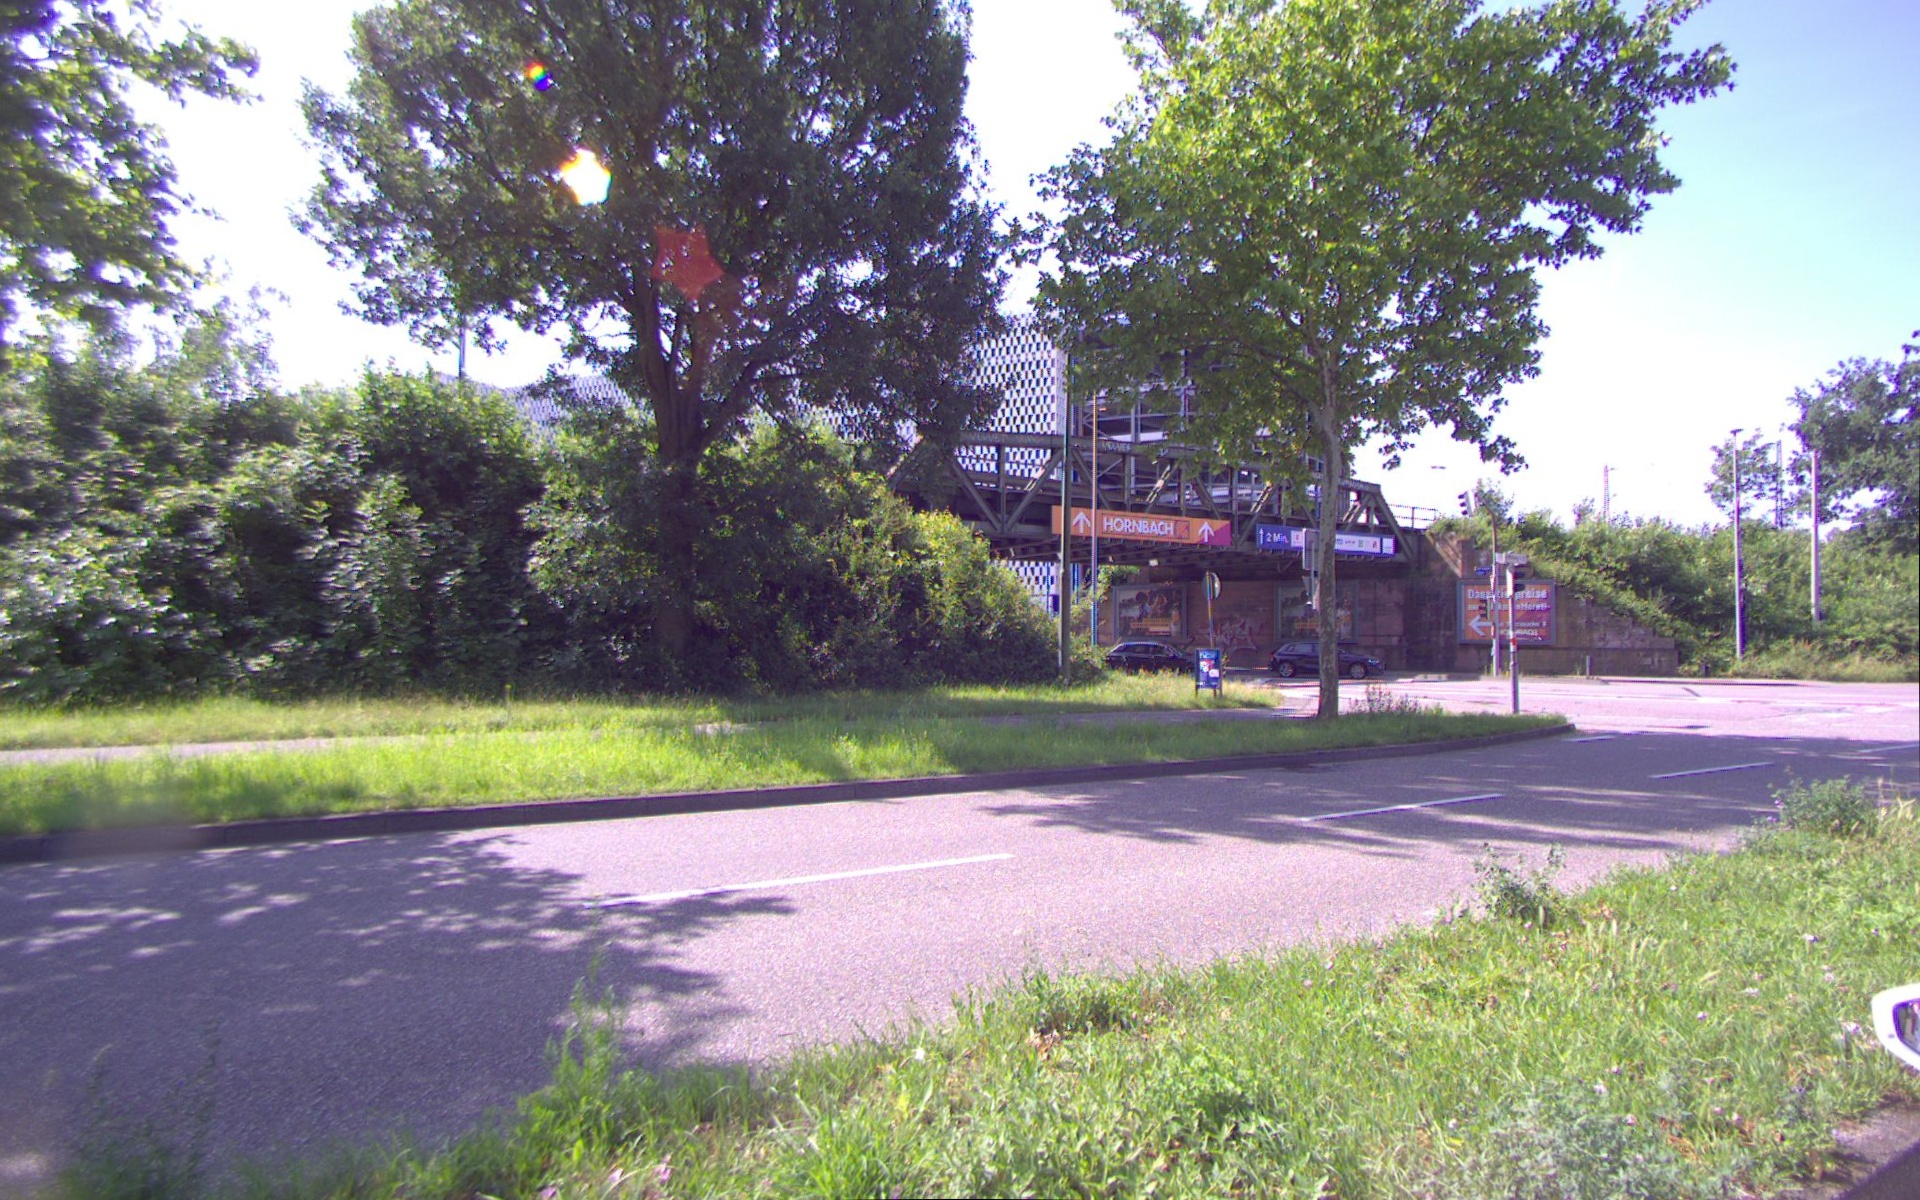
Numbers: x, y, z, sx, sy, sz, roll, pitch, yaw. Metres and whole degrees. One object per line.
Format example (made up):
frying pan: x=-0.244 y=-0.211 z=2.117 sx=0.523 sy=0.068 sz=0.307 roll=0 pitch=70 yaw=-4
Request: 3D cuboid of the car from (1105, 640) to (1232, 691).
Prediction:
car: x=7.016 y=2.166 z=33.798 sx=3.869 sy=1.500 sz=1.822 roll=1 pitch=-2 yaw=25

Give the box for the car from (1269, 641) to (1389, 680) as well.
car: x=14.267 y=2.294 z=38.886 sx=4.253 sy=1.413 sz=1.770 roll=-1 pitch=-2 yaw=24
